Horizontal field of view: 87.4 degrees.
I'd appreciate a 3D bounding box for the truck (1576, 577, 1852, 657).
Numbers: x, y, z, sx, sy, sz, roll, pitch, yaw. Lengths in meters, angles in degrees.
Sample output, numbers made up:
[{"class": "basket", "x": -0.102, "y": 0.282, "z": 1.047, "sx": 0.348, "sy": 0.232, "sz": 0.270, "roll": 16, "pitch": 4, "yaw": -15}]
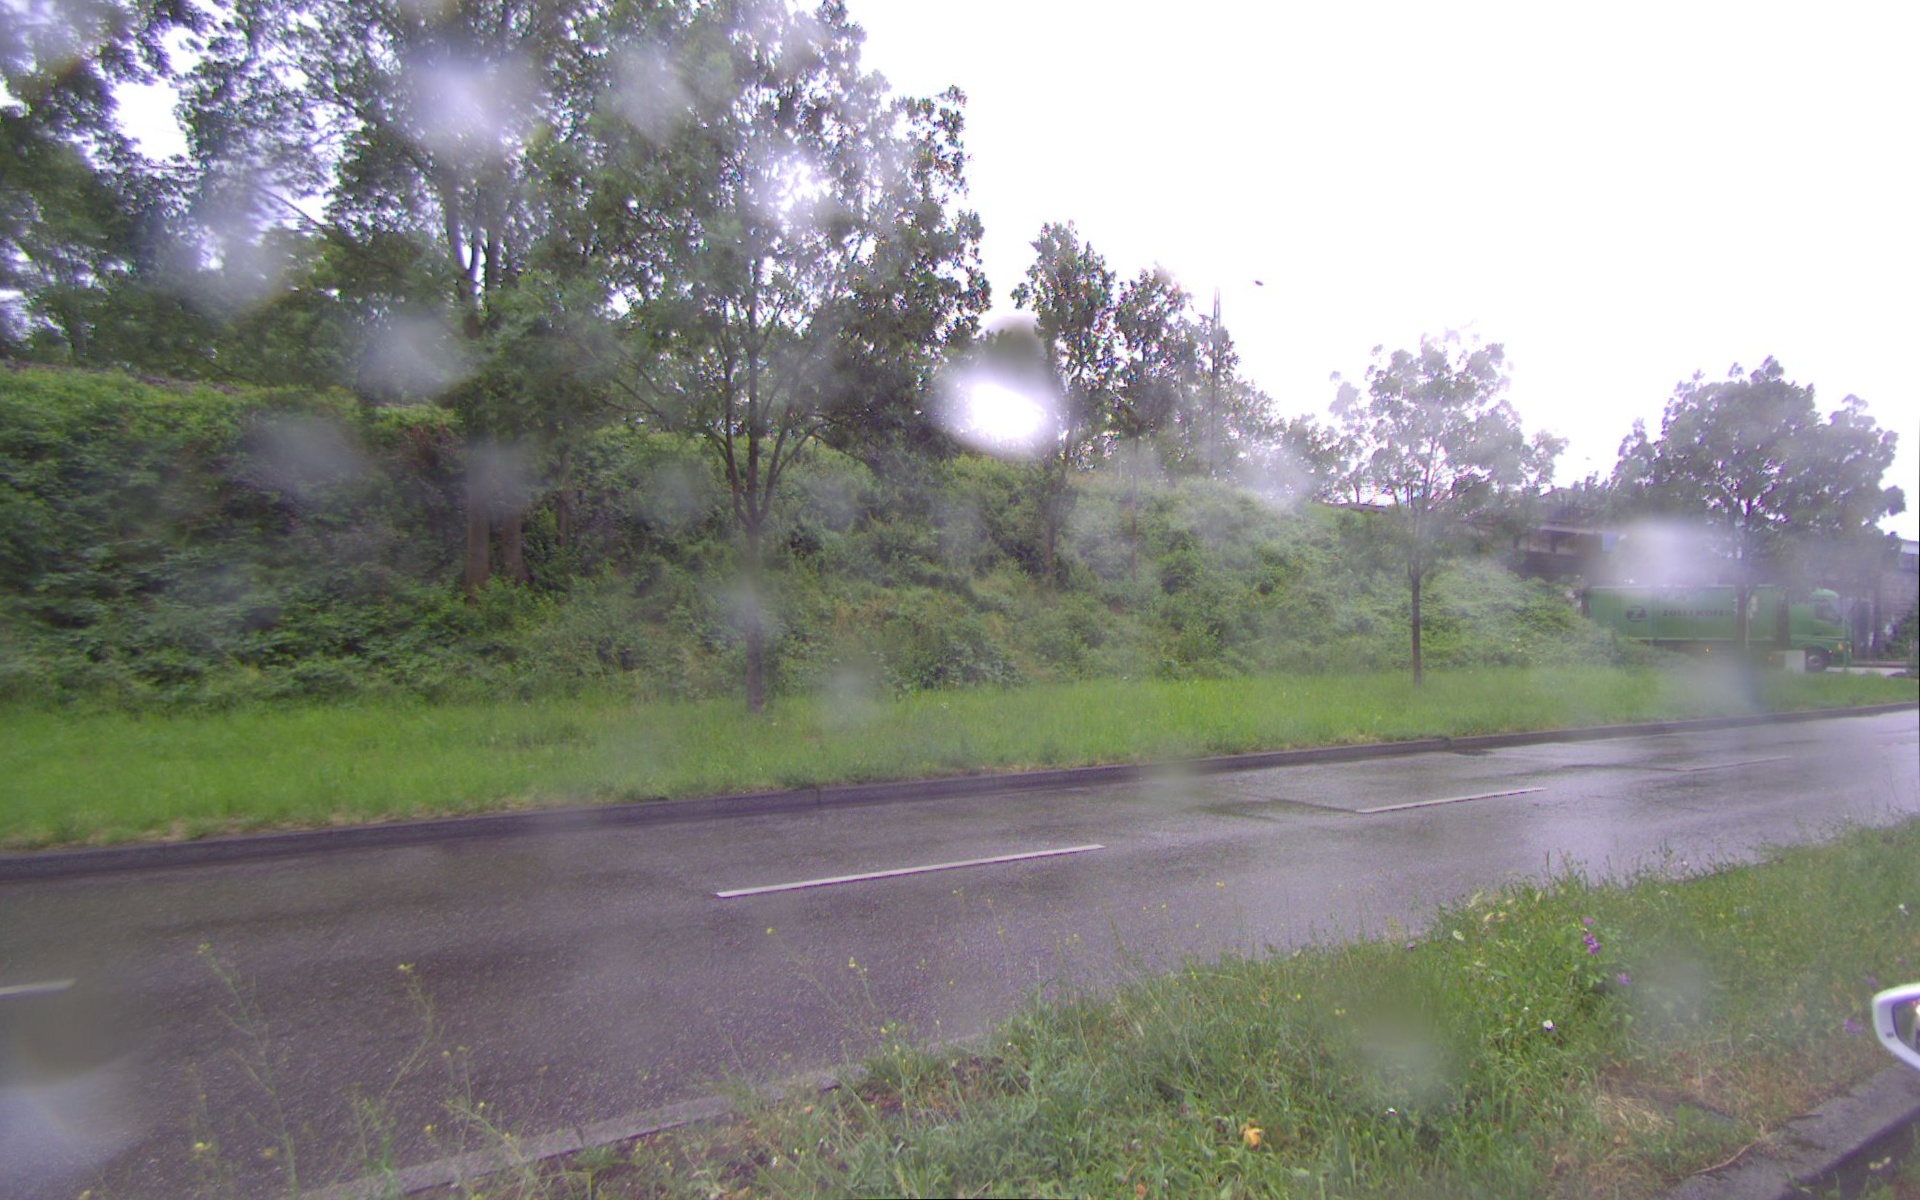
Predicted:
[{"class": "truck", "x": 34.338, "y": 0.733, "z": 46.330, "sx": 9.872, "sy": 3.416, "sz": 2.346, "roll": 0, "pitch": -1, "yaw": 25}]
